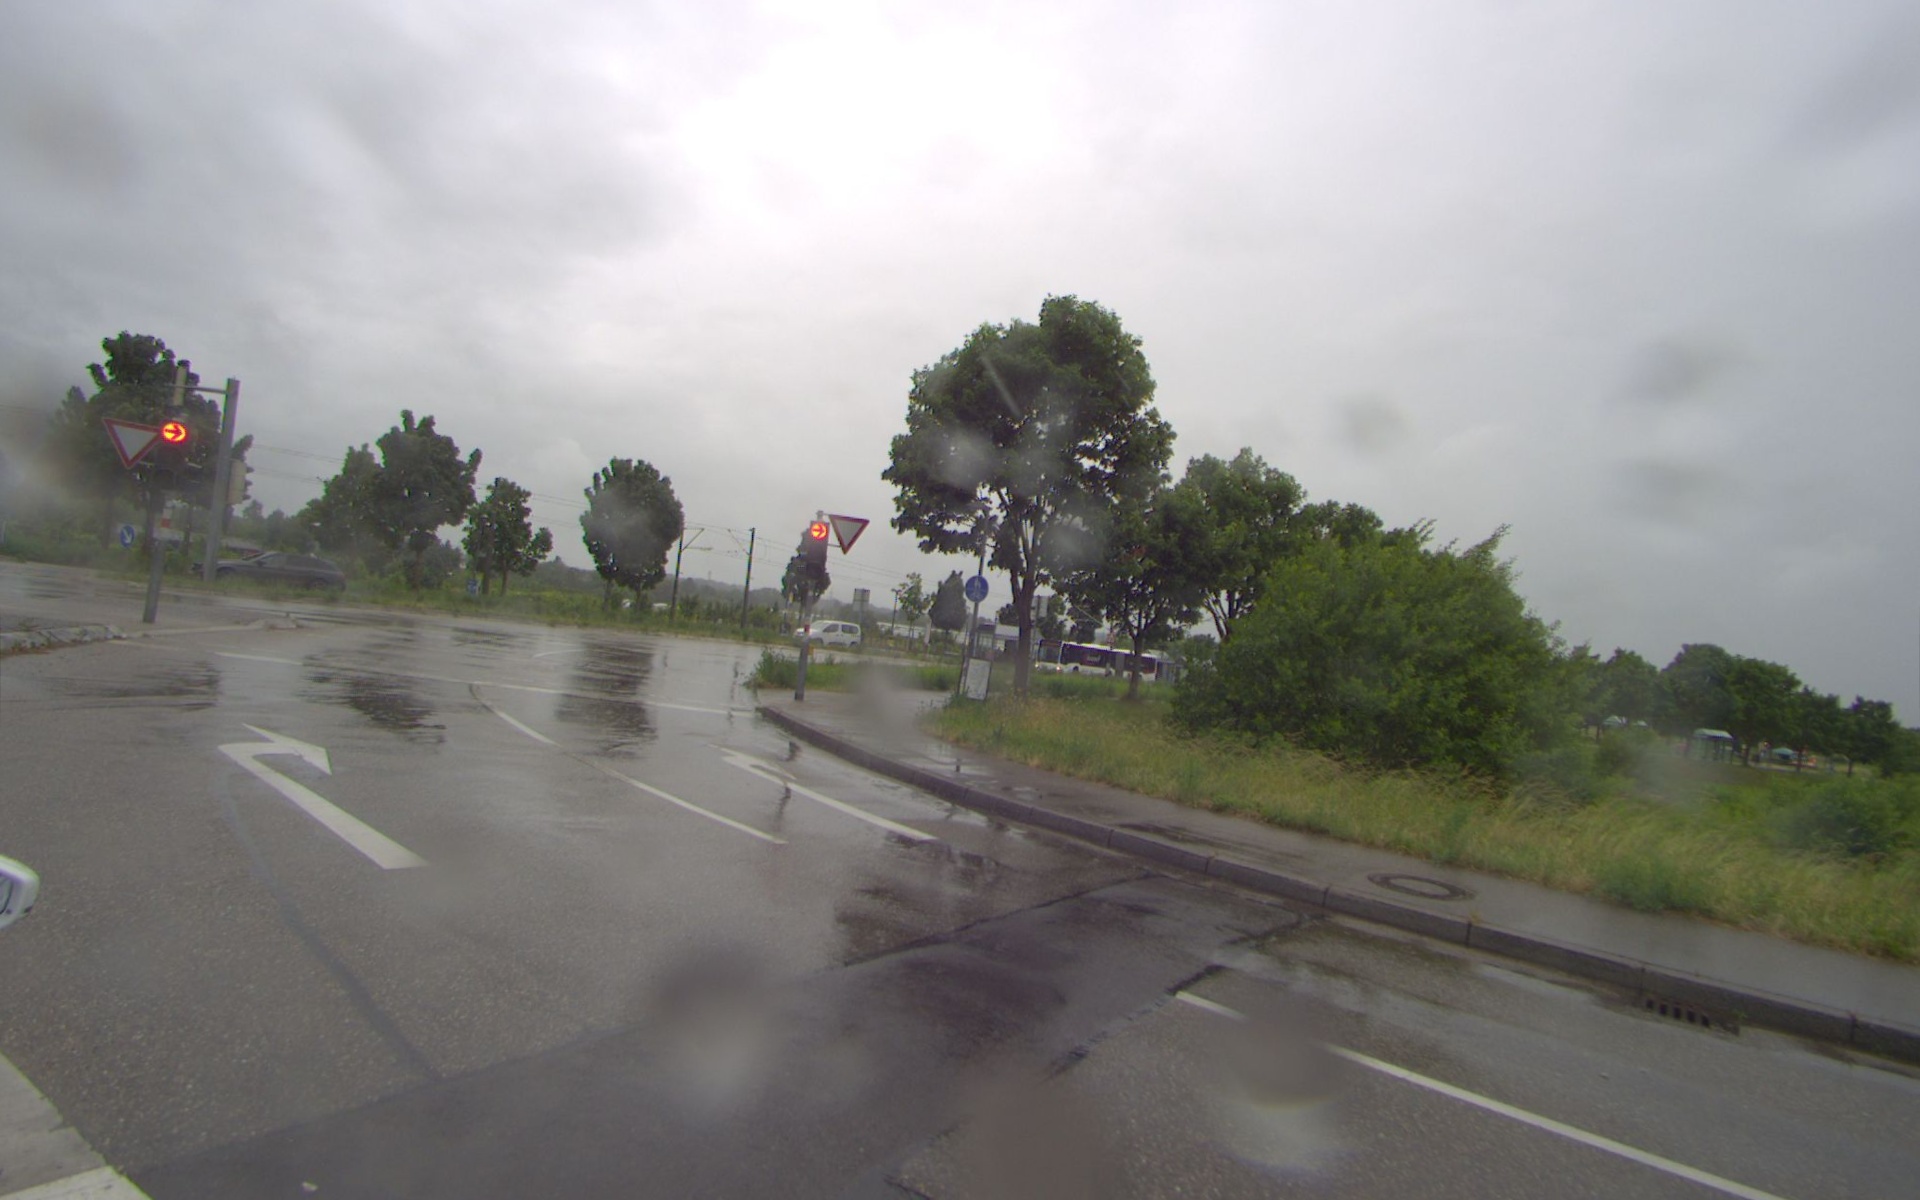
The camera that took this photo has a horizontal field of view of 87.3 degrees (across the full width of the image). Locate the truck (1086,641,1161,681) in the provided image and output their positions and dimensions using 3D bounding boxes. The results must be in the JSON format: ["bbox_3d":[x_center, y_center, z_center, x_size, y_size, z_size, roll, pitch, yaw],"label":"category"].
[{"bbox_3d":[15.420,5.796,94.351,2.616,2.804,9.325,6,-2,38],"label":"truck"}]

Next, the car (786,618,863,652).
[{"bbox_3d":[-8.073,2.116,60.227,1.798,1.572,4.326,6,-2,43],"label":"car"}]

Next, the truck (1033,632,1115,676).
[{"bbox_3d":[9.979,4.736,87.142,2.616,2.864,8.822,6,-2,37],"label":"truck"}]

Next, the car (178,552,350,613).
[{"bbox_3d":[-24.738,-0.592,35.897,1.796,1.572,4.667,6,-2,40],"label":"car"}]
